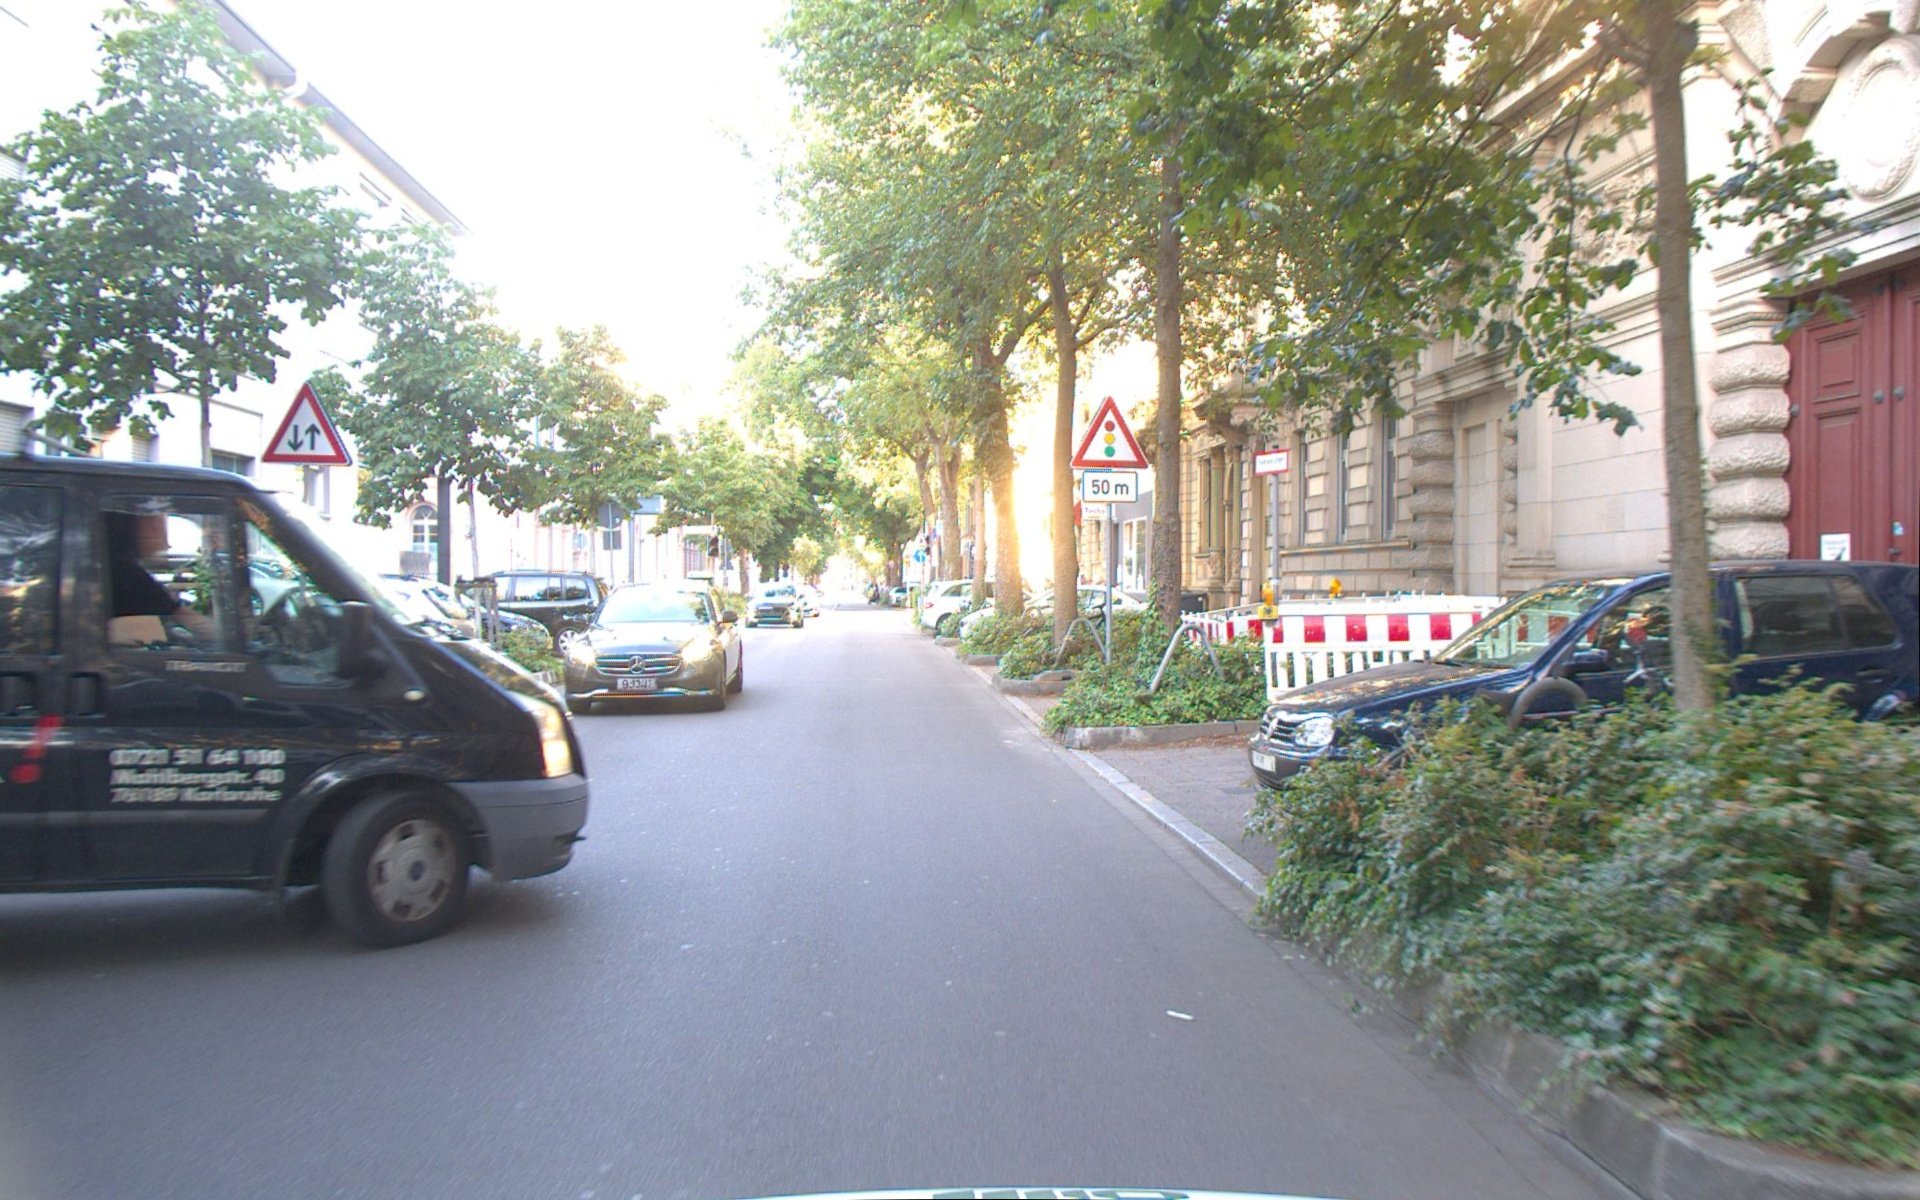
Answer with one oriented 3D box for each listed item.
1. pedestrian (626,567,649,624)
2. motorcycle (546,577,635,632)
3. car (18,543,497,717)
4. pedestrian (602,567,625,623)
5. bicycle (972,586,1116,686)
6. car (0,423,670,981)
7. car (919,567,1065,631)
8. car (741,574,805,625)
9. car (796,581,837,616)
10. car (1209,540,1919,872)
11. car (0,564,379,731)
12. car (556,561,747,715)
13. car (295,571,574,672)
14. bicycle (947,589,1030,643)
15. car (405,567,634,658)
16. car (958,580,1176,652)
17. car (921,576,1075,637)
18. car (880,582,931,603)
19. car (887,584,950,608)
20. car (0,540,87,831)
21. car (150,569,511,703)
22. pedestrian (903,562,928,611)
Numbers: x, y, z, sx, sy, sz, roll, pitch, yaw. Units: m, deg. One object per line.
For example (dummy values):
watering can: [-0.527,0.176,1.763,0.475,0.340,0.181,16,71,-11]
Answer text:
pedestrian: [-10.762,-0.164,55.231,0.542,1.883,0.612,0,0,10]
motorcycle: [-9.859,0.131,44.123,2.103,1.444,0.968,0,0,18]
car: [-7.906,0.329,19.049,4.574,1.796,2.155,1,0,-5]
pedestrian: [-11.599,-0.172,55.353,0.542,1.883,0.612,0,0,11]
bicycle: [1.218,0.524,24.046,2.006,1.384,0.508,2,0,-6]
car: [-3.893,0.353,7.015,4.922,2.025,2.175,0,1,-23]
car: [0.993,-0.038,53.081,4.453,1.948,1.948,-1,0,-6]
car: [-6.033,-0.026,53.809,1.840,1.576,4.272,-1,1,-4]
car: [-6.792,-0.100,78.428,1.840,1.576,4.271,-1,1,-5]
car: [3.668,0.498,9.311,4.141,1.507,1.853,-3,1,-4]
car: [-7.970,0.432,16.404,3.769,1.476,1.853,1,1,-4]
car: [-3.685,0.394,20.492,1.840,1.669,4.642,-1,1,-5]
car: [-8.544,0.341,27.145,3.994,1.465,1.754,2,0,-3]
bicycle: [0.704,0.386,40.786,1.987,1.225,0.486,-2,0,-17]
car: [-8.609,0.232,32.601,4.011,1.660,1.935,1,0,-3]
car: [2.223,0.310,35.247,4.491,1.462,1.924,0,1,-2]
car: [1.008,0.162,45.458,4.138,1.587,1.970,-1,1,-1]
car: [-4.372,-0.633,132.545,3.936,1.651,1.779,0,0,-5]
car: [-2.809,-0.292,111.499,4.110,1.506,1.851,-1,1,-4]
car: [-7.362,0.362,8.835,4.268,1.600,1.929,3,0,-4]
car: [-8.067,0.435,21.451,3.947,1.520,1.780,2,0,-1]
pedestrian: [-2.023,-0.607,74.966,1.022,2.184,1.063,1,-1,-4]
